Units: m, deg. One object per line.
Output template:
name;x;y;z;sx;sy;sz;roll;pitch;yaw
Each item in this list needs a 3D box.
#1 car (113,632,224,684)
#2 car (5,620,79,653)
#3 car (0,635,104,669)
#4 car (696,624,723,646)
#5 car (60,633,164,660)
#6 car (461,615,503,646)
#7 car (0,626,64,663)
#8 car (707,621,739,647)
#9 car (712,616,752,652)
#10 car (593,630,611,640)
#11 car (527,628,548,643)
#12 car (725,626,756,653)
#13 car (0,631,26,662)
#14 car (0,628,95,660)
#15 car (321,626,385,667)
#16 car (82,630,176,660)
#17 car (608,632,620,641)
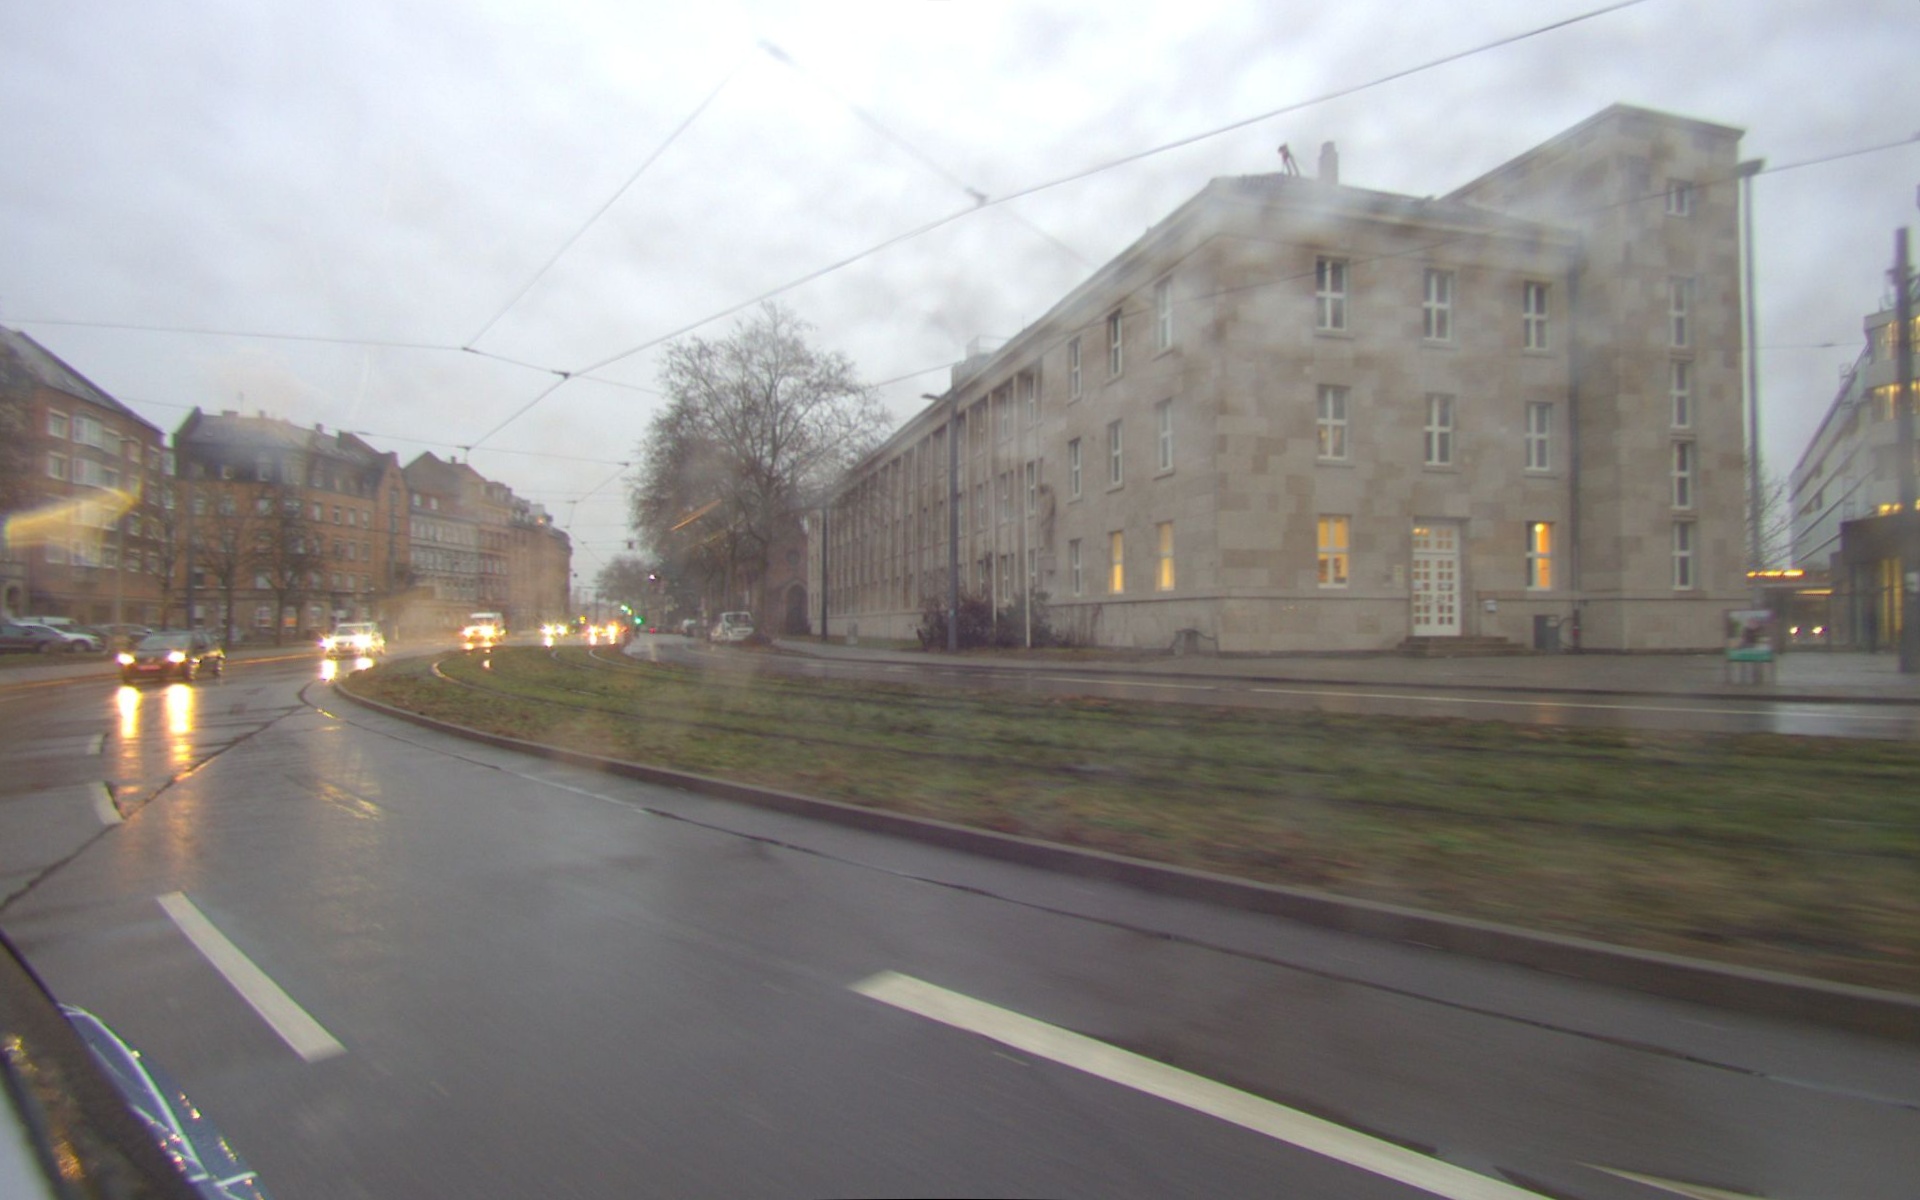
car;-23.228;1.674;29.828;1.563;1.437;3.143;0;-2;-17
car;-52.807;2.082;58.312;1.647;1.716;3.474;-2;0;-13
car;-41.478;2.340;46.142;3.708;1.341;1.604;-1;-1;-41
car;-19.519;2.711;78.686;1.588;1.673;3.622;0;-2;-22
car;-41.362;2.247;49.428;1.601;1.288;3.713;-2;-3;42
car;-39.769;2.477;84.329;2.095;2.398;5.653;-2;0;-14
car;-39.692;1.861;41.837;1.695;1.416;3.819;-2;0;44
car;-17.002;2.430;72.519;1.796;1.667;3.871;-2;0;-18
car;-14.163;2.043;62.738;1.966;2.029;4.523;-2;0;-18
car;-55.278;5.378;156.311;1.867;1.424;3.955;0;-2;-10
car;-49.983;4.221;119.809;1.624;1.763;3.562;0;-2;-10
car;-12.700;2.263;58.467;1.534;1.439;2.964;0;-1;-17
car;-51.073;2.480;52.835;1.666;1.554;4.011;-2;0;-15
car;-40.609;1.910;44.645;3.708;1.343;1.604;1;-2;-41
car;-27.949;2.099;46.715;1.647;1.672;4.161;-2;0;-19
car;-43.291;2.324;52.751;3.708;1.364;1.604;-1;-1;-41
car;-72.431;7.578;211.872;1.922;1.829;4.008;0;-1;-10
